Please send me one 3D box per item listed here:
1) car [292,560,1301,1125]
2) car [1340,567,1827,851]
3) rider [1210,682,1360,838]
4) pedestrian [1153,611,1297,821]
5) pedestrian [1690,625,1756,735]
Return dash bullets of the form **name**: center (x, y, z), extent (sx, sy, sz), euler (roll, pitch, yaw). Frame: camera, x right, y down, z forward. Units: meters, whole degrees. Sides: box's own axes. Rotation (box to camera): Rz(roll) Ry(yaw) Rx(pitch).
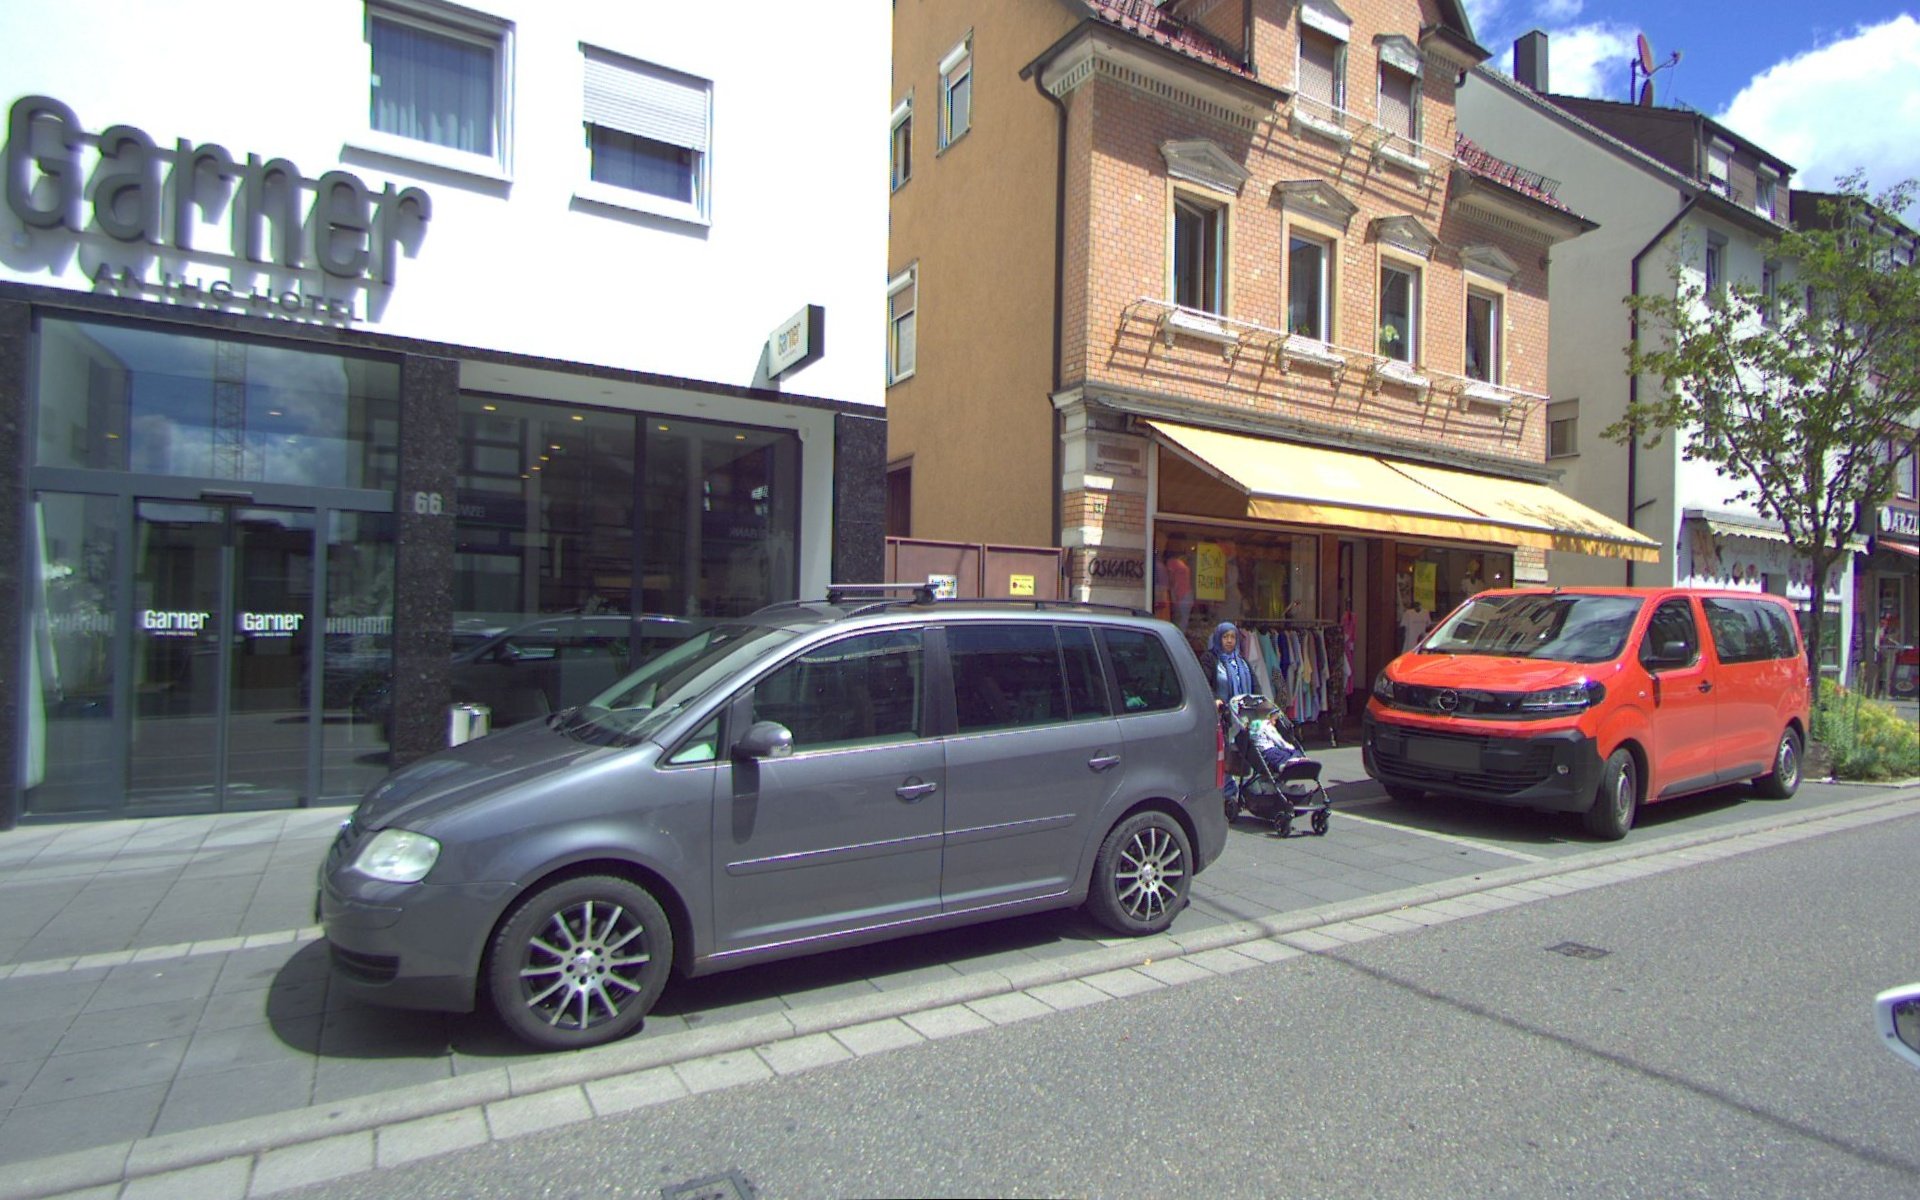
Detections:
- **car**: center (-0.574, 0.834, 5.035), extent (4.410, 1.778, 1.808), euler (2, -1, -29)
- **car**: center (5.645, 0.808, 8.869), extent (4.790, 1.913, 1.805), euler (2, -1, -34)
- **rider**: center (2.444, 1.170, 7.594), extent (0.698, 1.027, 0.800), euler (2, 0, -28)
- **pedestrian**: center (2.161, 0.909, 8.229), extent (0.769, 1.595, 0.802), euler (2, 0, -28)
- **pedestrian**: center (11.970, 1.239, 15.753), extent (0.654, 1.654, 0.586), euler (2, 0, -30)
